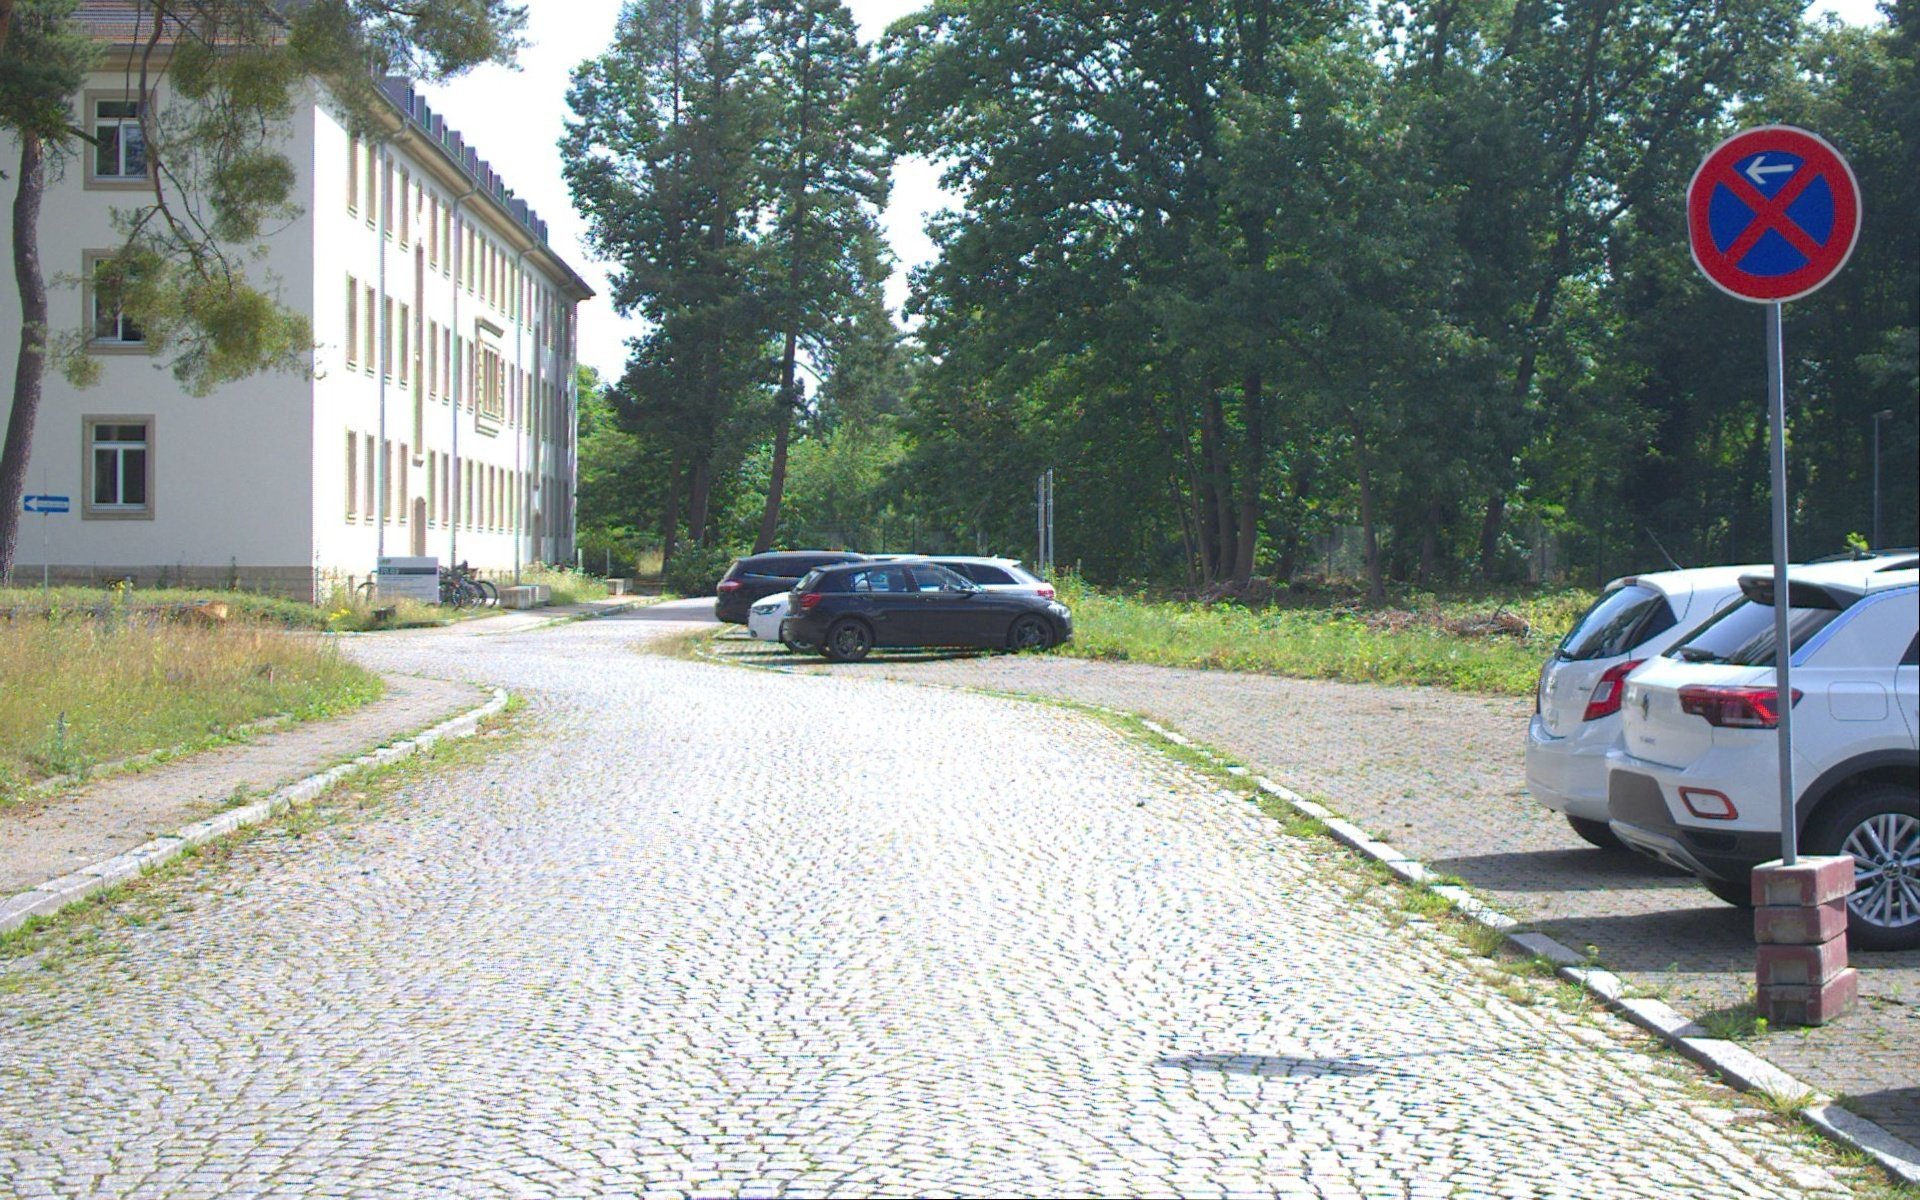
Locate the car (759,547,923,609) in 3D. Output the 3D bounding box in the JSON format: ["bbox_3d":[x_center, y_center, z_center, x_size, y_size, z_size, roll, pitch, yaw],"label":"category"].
[{"bbox_3d":[-3.074,-0.576,89.399,4.187,1.538,1.820,-1,0,0],"label":"car"}]

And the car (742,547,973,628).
[{"bbox_3d":[-1.998,-0.247,66.604,4.398,1.479,1.766,-1,0,-3],"label":"car"}]

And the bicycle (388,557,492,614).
[{"bbox_3d":[-11.670,-0.331,77.146,2.222,1.256,0.623,0,1,5],"label":"bicycle"}]

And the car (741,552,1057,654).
[{"bbox_3d":[-0.983,0.026,53.963,4.861,1.467,1.875,-1,2,-3],"label":"car"}]

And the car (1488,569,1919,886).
[{"bbox_3d":[4.857,0.581,17.320,4.041,1.459,1.704,-1,1,-4],"label":"car"}]

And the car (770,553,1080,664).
[{"bbox_3d":[-0.535,0.108,50.817,4.323,1.495,1.830,-1,2,-10],"label":"car"}]

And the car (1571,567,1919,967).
[{"bbox_3d":[4.718,0.606,14.195,3.986,1.501,1.747,-1,1,-4],"label":"car"}]

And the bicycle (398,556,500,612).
[{"bbox_3d":[-11.627,-0.369,78.224,2.222,1.256,0.623,0,1,1],"label":"bicycle"}]

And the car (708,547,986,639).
[{"bbox_3d":[-2.025,-0.130,61.287,4.852,1.547,1.880,-1,0,-3],"label":"car"}]

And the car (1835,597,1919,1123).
[{"bbox_3d":[4.932,0.697,9.636,4.453,1.470,1.746,-1,1,-6],"label":"car"}]

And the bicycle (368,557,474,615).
[{"bbox_3d":[-11.822,-0.310,75.401,2.222,1.256,0.623,0,1,5],"label":"bicycle"}]
